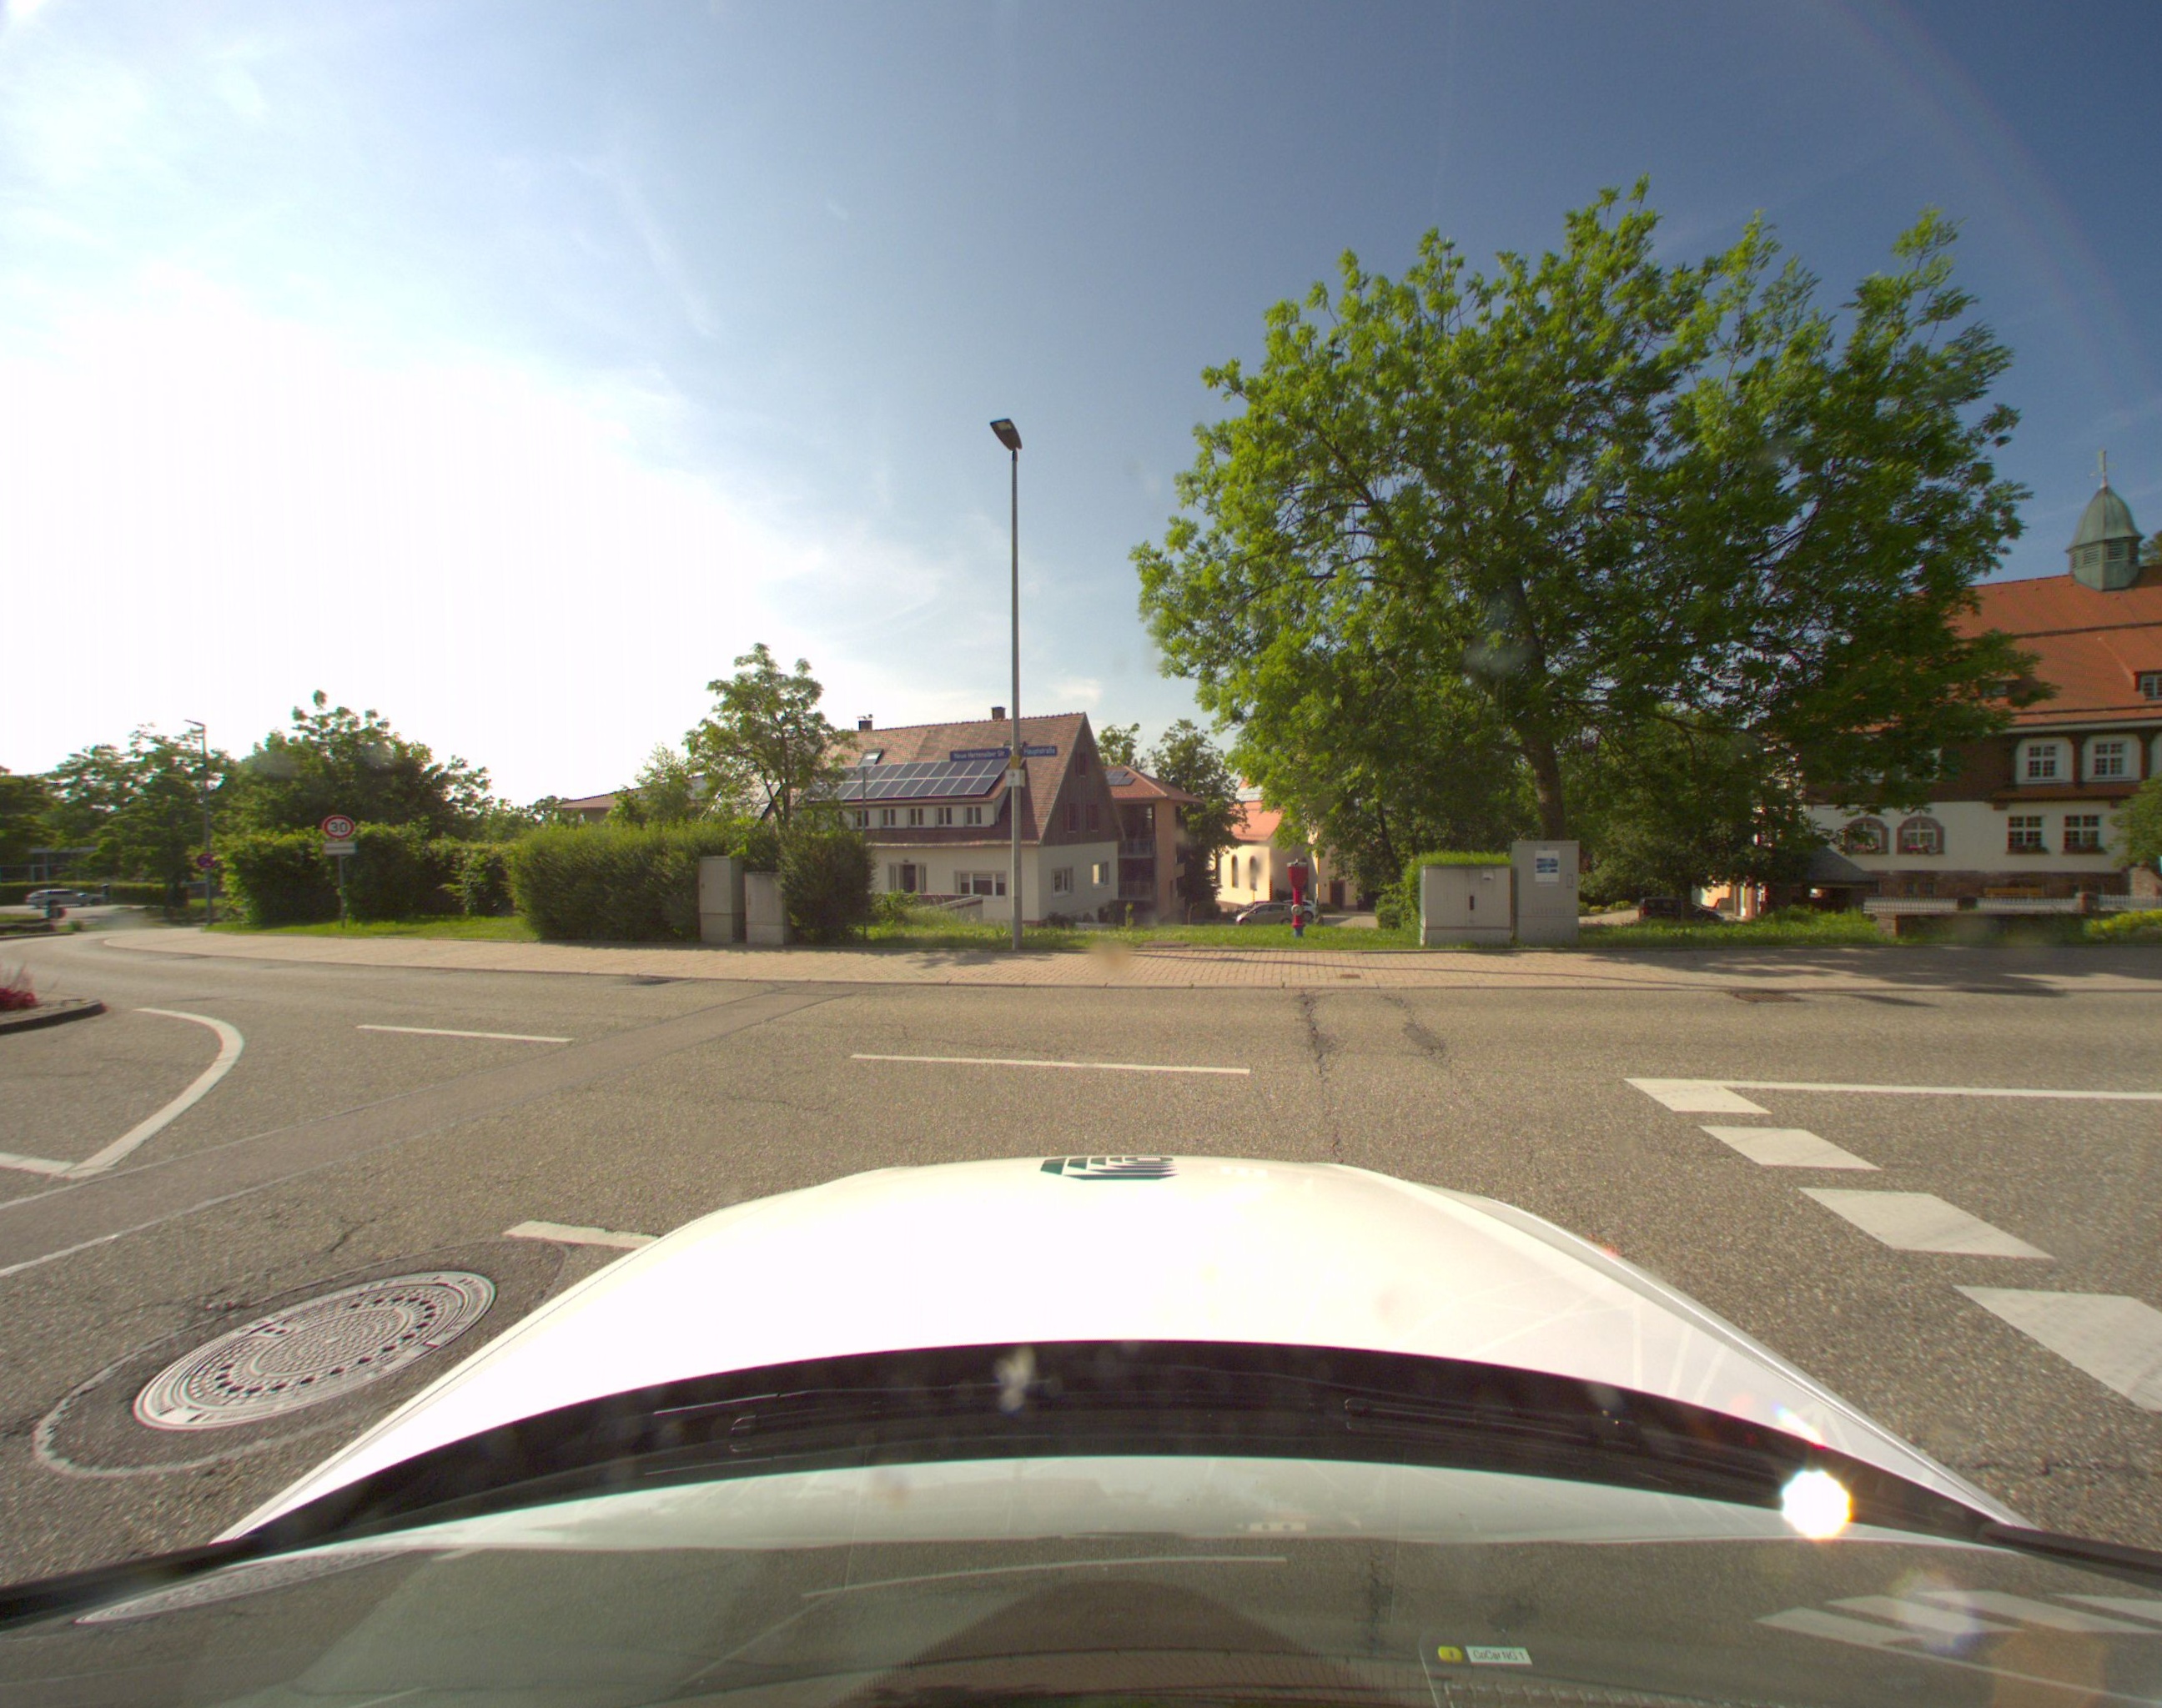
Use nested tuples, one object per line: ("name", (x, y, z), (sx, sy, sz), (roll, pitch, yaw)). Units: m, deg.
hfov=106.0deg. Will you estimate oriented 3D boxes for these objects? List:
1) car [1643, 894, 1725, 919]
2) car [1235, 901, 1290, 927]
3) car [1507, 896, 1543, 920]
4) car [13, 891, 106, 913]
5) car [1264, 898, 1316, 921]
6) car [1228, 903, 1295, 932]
("car", (36.530, 3.204, 49.475), (3.737, 1.444, 1.724), (-3, -3, 28))
("car", (12.927, 4.291, 58.241), (3.749, 1.758, 1.718), (-2, -2, 10))
("car", (31.491, 3.792, 57.830), (1.694, 1.542, 3.804), (-2, -3, 20))
("car", (-90.803, 4.244, 72.479), (1.980, 1.534, 4.748), (2, 2, 14))
("car", (16.042, 4.244, 62.604), (3.749, 1.594, 1.718), (-2, -2, 10))
("car", (11.629, 4.098, 52.562), (4.064, 1.758, 1.719), (-2, -2, 11))
